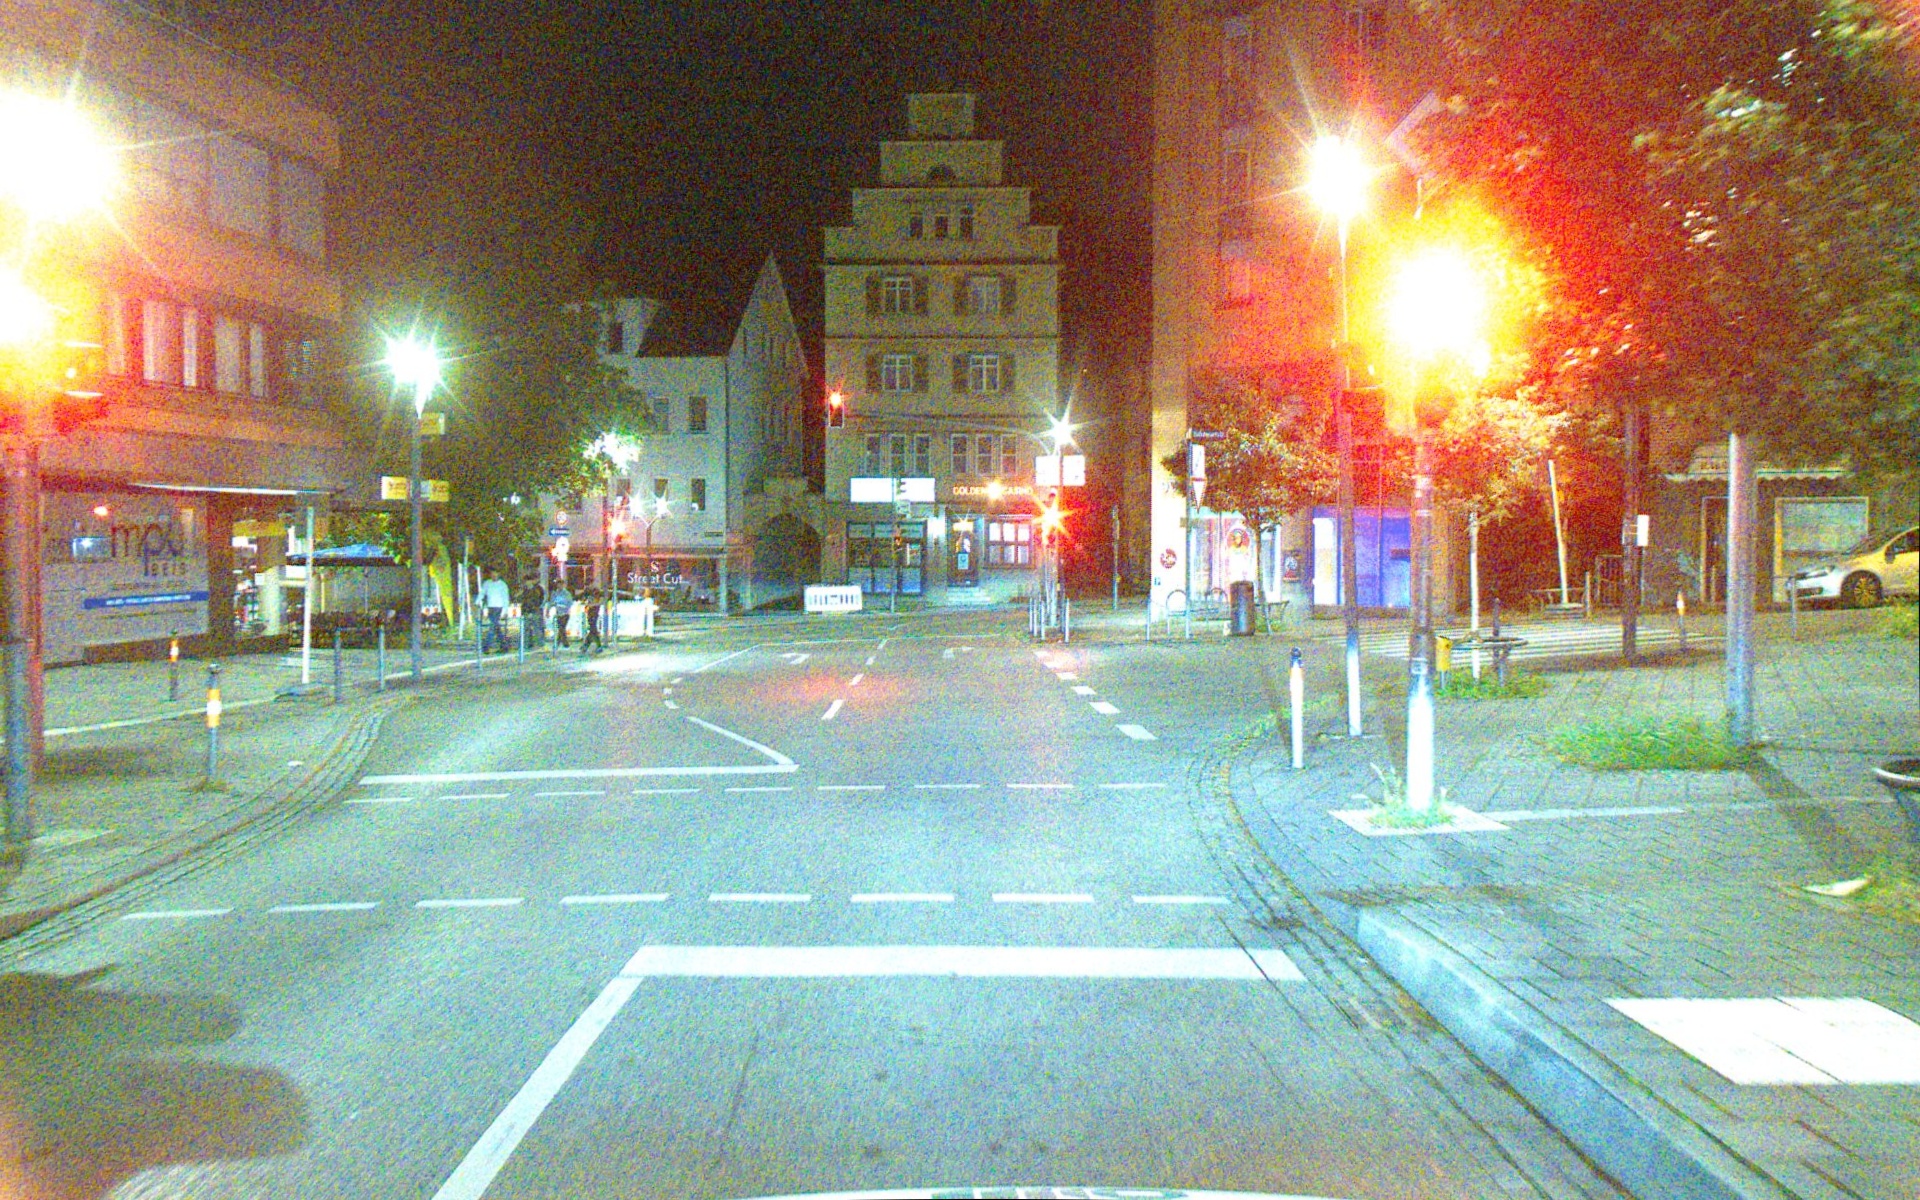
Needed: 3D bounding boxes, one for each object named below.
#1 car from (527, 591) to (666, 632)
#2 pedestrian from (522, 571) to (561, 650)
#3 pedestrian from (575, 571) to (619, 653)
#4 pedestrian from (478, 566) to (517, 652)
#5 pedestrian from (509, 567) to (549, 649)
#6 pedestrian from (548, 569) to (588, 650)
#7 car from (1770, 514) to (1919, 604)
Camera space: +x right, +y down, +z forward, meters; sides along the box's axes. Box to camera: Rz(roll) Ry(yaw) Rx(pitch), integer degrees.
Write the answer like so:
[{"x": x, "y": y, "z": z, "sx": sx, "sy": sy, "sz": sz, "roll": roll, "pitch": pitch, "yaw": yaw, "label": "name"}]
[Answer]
[{"x": -12.193, "y": 0.398, "z": 55.657, "sx": 4.331, "sy": 1.320, "sz": 1.640, "roll": 1, "pitch": -1, "yaw": -5, "label": "car"}, {"x": -9.742, "y": 0.251, "z": 38.500, "sx": 0.701, "sy": 1.827, "sz": 0.570, "roll": 1, "pitch": -1, "yaw": 6, "label": "pedestrian"}, {"x": -8.203, "y": 0.267, "z": 37.400, "sx": 0.729, "sy": 1.827, "sz": 0.708, "roll": 2, "pitch": -2, "yaw": -38, "label": "pedestrian"}, {"x": -9.943, "y": 0.203, "z": 35.585, "sx": 0.702, "sy": 1.827, "sz": 0.568, "roll": 1, "pitch": -1, "yaw": -7, "label": "pedestrian"}, {"x": -9.752, "y": 0.180, "z": 37.446, "sx": 0.701, "sy": 1.827, "sz": 0.570, "roll": 1, "pitch": -1, "yaw": 6, "label": "pedestrian"}, {"x": -8.963, "y": 0.224, "z": 37.818, "sx": 0.701, "sy": 1.827, "sz": 0.570, "roll": 1, "pitch": -1, "yaw": 6, "label": "pedestrian"}, {"x": 17.140, "y": -0.795, "z": 30.023, "sx": 3.956, "sy": 1.477, "sz": 1.827, "roll": -3, "pitch": 1, "yaw": 6, "label": "car"}]
